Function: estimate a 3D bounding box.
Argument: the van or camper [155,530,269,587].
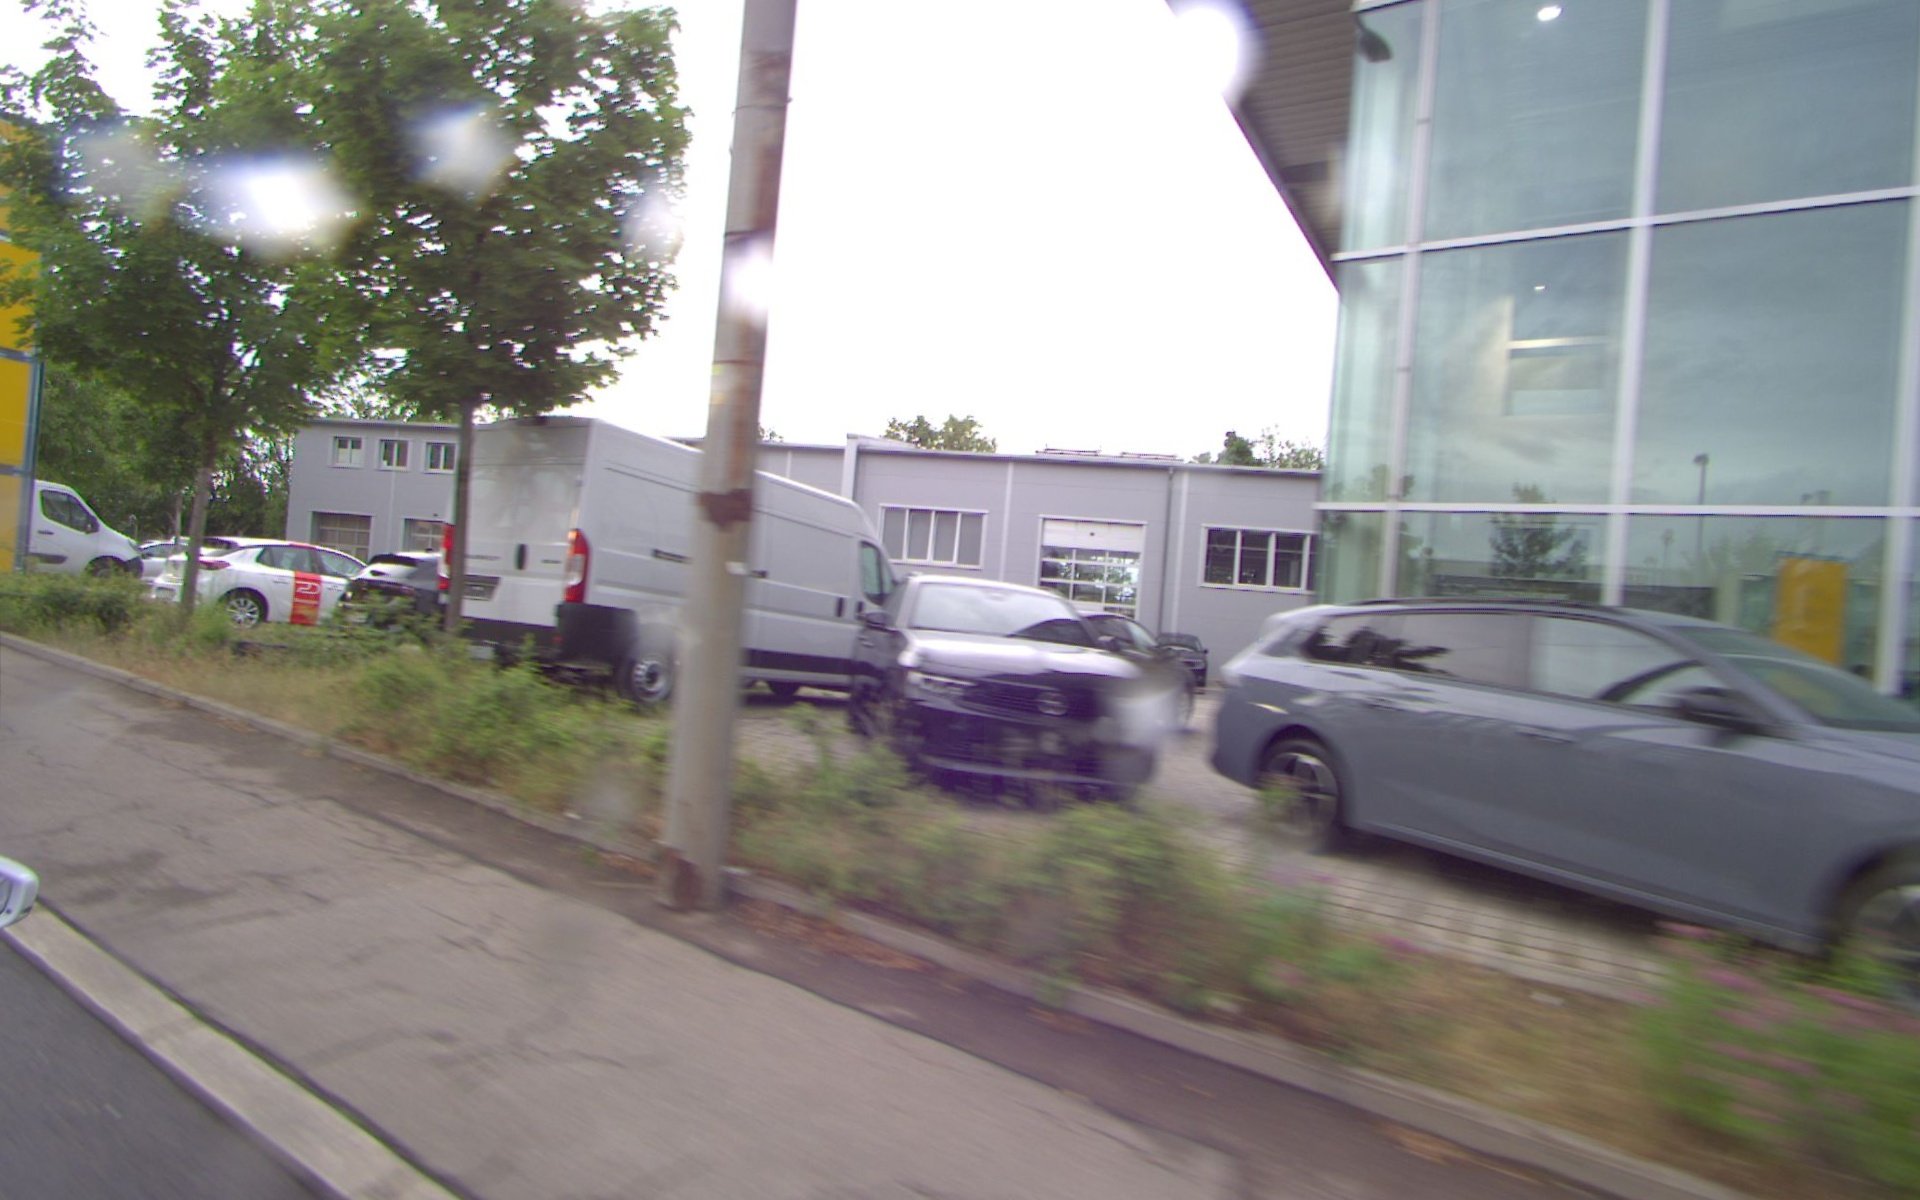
[{"bbox_3d":[-32.237,-1.817,43.280,5.524,1.810,1.996,7,-1,33],"label":"van or camper"}]

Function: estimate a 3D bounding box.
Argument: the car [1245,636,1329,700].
[{"bbox_3d":[9.719,1.989,30.150,1.812,1.569,4.003,7,-1,12],"label":"car"}]

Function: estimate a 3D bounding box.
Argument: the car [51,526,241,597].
[{"bbox_3d":[-22.345,-1.014,27.733,1.604,1.435,3.693,6,-1,34],"label":"car"}]

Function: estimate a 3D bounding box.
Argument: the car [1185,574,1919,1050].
[{"bbox_3d":[3.405,0.750,4.801,1.894,1.473,4.536,4,1,-30],"label":"car"}]

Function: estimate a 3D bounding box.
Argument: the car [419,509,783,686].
[{"bbox_3d":[-4.495,0.078,13.204,1.814,1.867,4.132,3,-3,34],"label":"car"}]

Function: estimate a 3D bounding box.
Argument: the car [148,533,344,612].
[{"bbox_3d":[-18.251,-0.653,25.873,1.532,1.537,3.695,6,-1,32],"label":"car"}]

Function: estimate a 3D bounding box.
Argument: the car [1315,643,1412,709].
[{"bbox_3d":[11.752,2.163,29.545,1.812,1.569,4.003,7,-1,12],"label":"car"}]

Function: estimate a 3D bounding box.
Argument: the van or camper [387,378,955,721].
[{"bbox_3d":[-2.674,-0.273,11.110,2.313,2.756,5.746,7,-1,31],"label":"van or camper"}]

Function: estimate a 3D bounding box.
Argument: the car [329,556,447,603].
[{"bbox_3d":[-22.929,-0.790,40.483,1.806,1.622,3.999,6,1,13],"label":"car"}]

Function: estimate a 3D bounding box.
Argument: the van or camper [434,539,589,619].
[{"bbox_3d":[-16.367,-0.700,37.094,2.244,2.522,5.284,7,1,14],"label":"van or camper"}]

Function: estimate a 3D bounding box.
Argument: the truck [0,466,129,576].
[{"bbox_3d":[-20.815,-1.866,20.679,2.305,2.037,5.158,7,-1,29],"label":"truck"}]

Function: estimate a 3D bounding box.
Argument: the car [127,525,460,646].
[{"bbox_3d":[-10.562,-0.159,16.245,1.864,1.446,3.992,7,-1,32],"label":"car"}]

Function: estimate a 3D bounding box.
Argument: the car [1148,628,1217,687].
[{"bbox_3d":[6.706,1.679,30.475,1.805,1.442,4.000,5,0,12],"label":"car"}]

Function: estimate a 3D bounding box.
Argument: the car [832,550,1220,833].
[{"bbox_3d":[0.121,0.500,7.892,1.883,1.473,4.508,5,0,-11],"label":"car"}]

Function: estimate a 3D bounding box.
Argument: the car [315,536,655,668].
[{"bbox_3d":[-6.525,0.111,14.274,1.719,1.447,3.993,4,-3,32],"label":"car"}]
